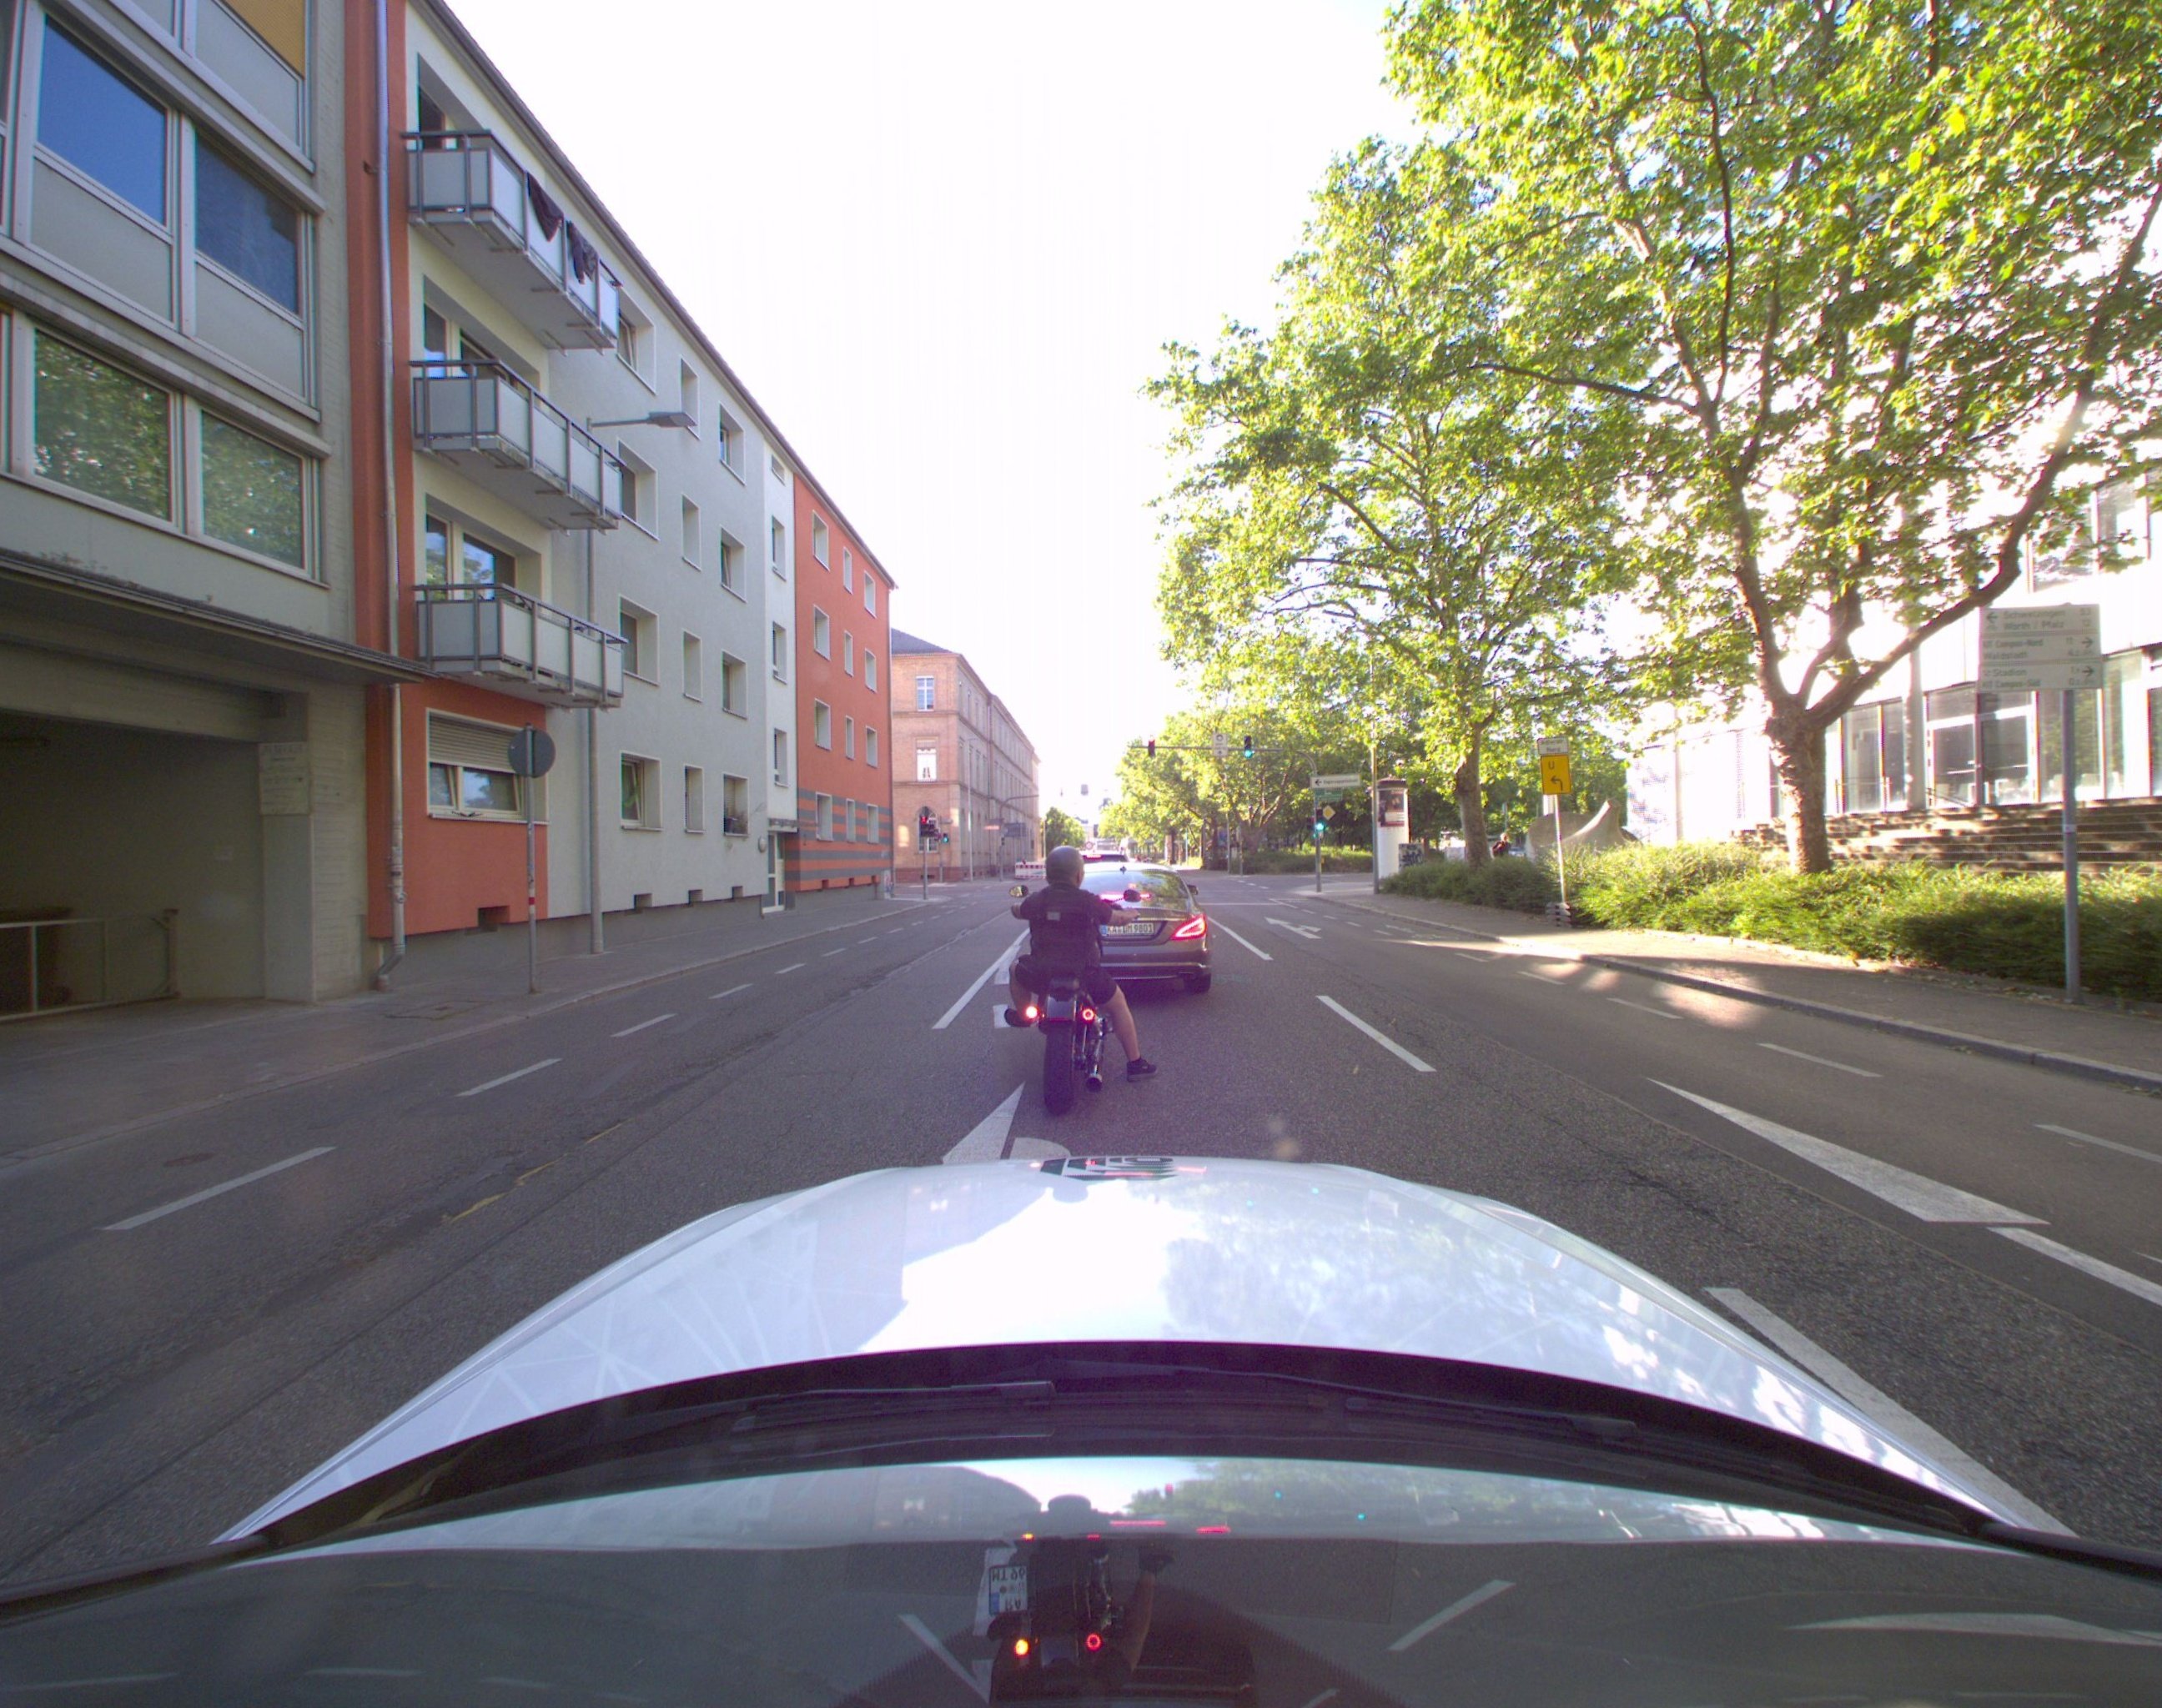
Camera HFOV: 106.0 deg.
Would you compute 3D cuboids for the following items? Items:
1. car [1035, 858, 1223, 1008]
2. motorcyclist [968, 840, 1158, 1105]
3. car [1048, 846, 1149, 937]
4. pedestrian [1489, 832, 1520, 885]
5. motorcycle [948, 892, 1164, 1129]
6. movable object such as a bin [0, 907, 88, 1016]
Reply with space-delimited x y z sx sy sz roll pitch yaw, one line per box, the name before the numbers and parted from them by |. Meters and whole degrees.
car | 0.523 0.782 9.799 1.815 1.437 3.807 0 -1 2
motorcyclist | -0.067 0.707 5.424 1.093 1.566 1.074 -1 -1 8
car | 0.383 0.714 17.088 1.856 1.678 4.001 0 -1 2
pedestrian | 14.211 0.151 27.353 0.731 1.778 0.731 -1 -1 10
motorcycle | -0.039 0.915 5.642 1.111 1.207 2.217 -1 -1 8
movable object such as a bin | -11.282 1.122 8.666 0.533 1.079 0.723 0 -1 3
